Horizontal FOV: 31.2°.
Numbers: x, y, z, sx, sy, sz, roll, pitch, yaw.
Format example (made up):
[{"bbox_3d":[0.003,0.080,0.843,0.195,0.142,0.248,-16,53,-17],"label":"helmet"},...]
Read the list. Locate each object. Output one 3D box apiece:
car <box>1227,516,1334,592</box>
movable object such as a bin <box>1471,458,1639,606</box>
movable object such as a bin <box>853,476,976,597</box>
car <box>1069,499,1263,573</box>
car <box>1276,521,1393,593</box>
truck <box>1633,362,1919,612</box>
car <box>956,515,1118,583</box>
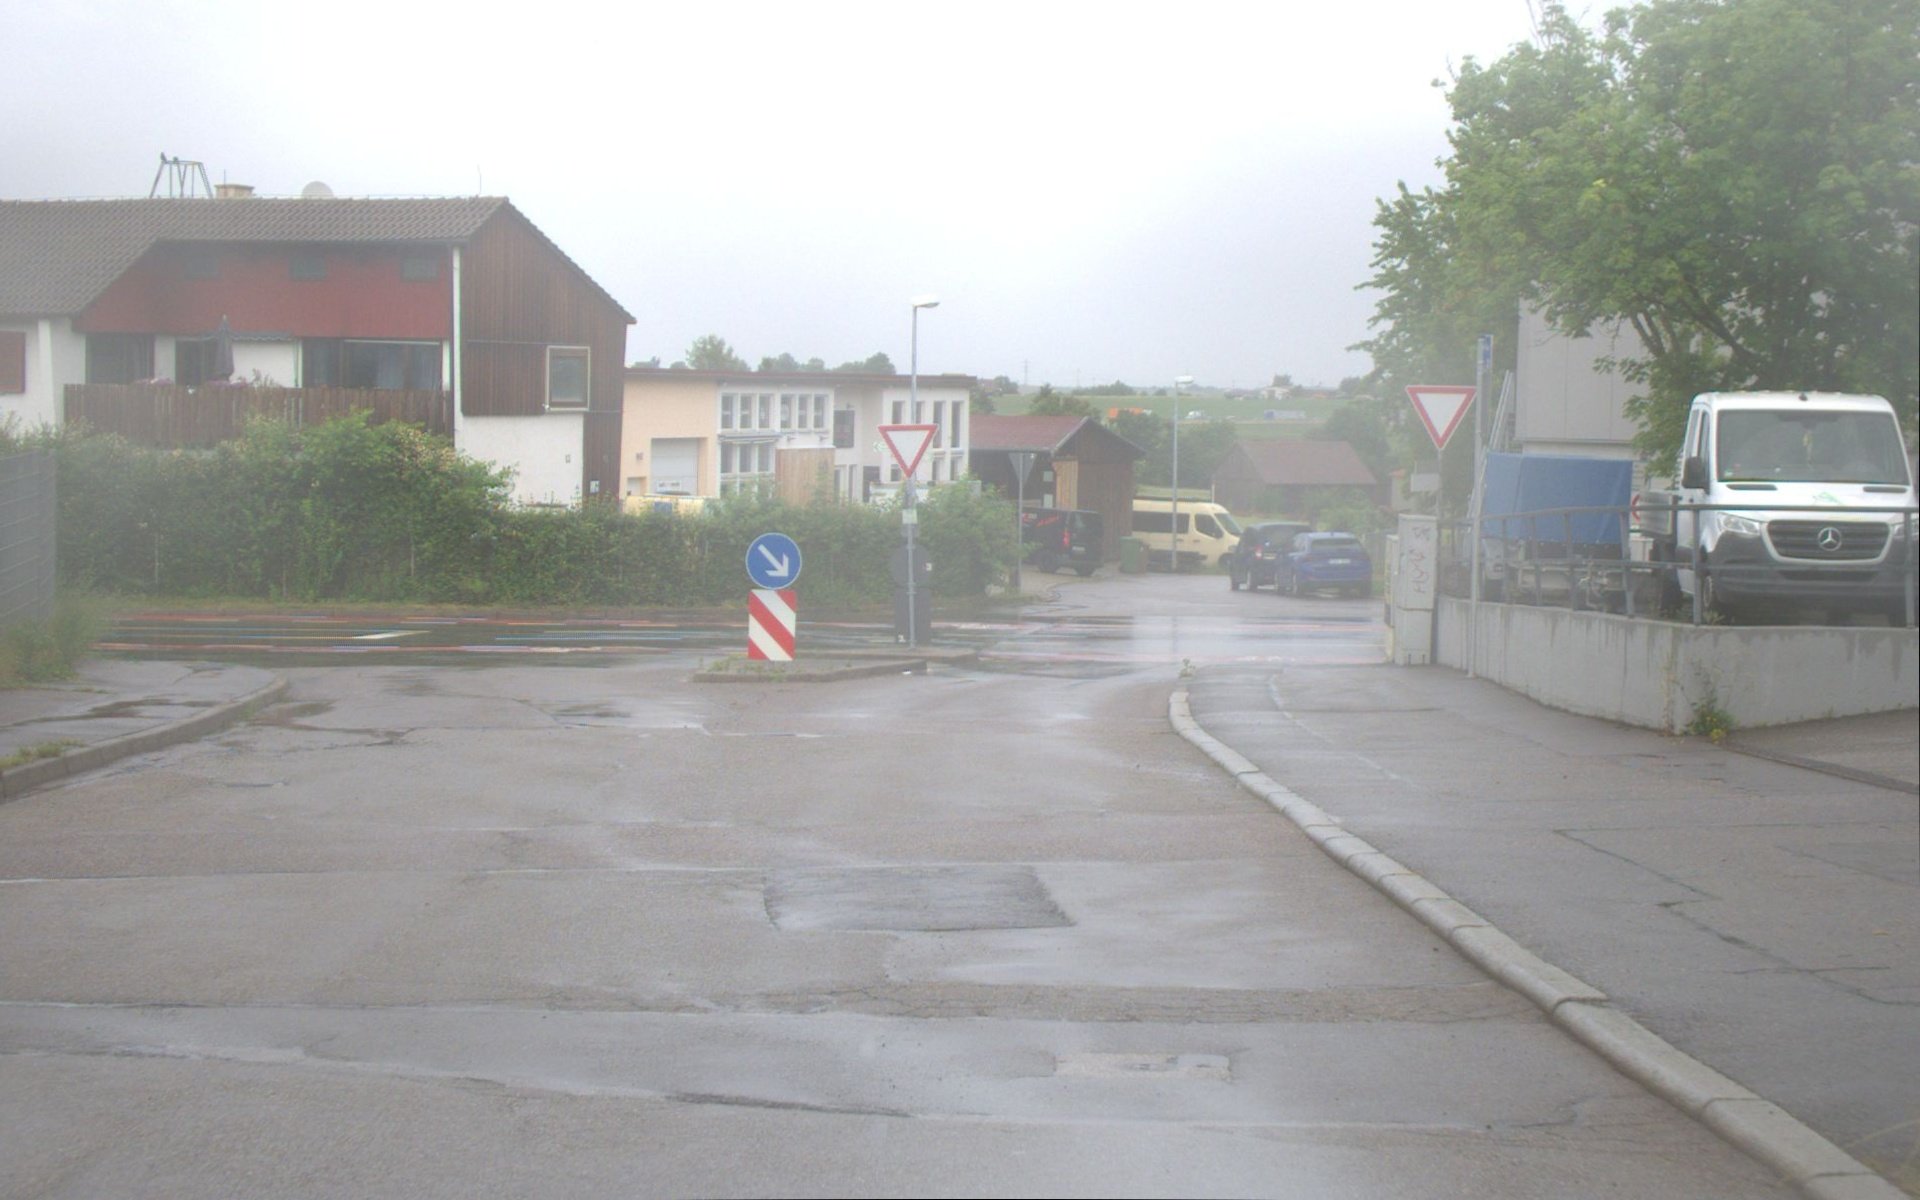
[{"bbox_3d":[7.986,-1.158,85.978,2.074,1.828,4.471,1,1,-2],"label":"car"},{"bbox_3d":[6.221,-0.709,36.097,1.306,1.495,1.859,1,1,-4],"label":"movable object such as a bin"},{"bbox_3d":[-0.968,-1.368,74.565,1.734,2.548,3.337,1,1,16],"label":"movable object such as a bin"},{"bbox_3d":[6.907,-2.150,115.246,6.016,2.407,2.460,1,1,23],"label":"car"},{"bbox_3d":[8.663,-1.006,79.816,1.951,1.604,4.447,1,1,-4],"label":"car"},{"bbox_3d":[7.982,-1.044,33.457,2.106,2.206,5.652,1,1,4],"label":"truck"},{"bbox_3d":[2.171,-1.456,97.852,4.407,1.898,1.995,1,1,45],"label":"car"}]
